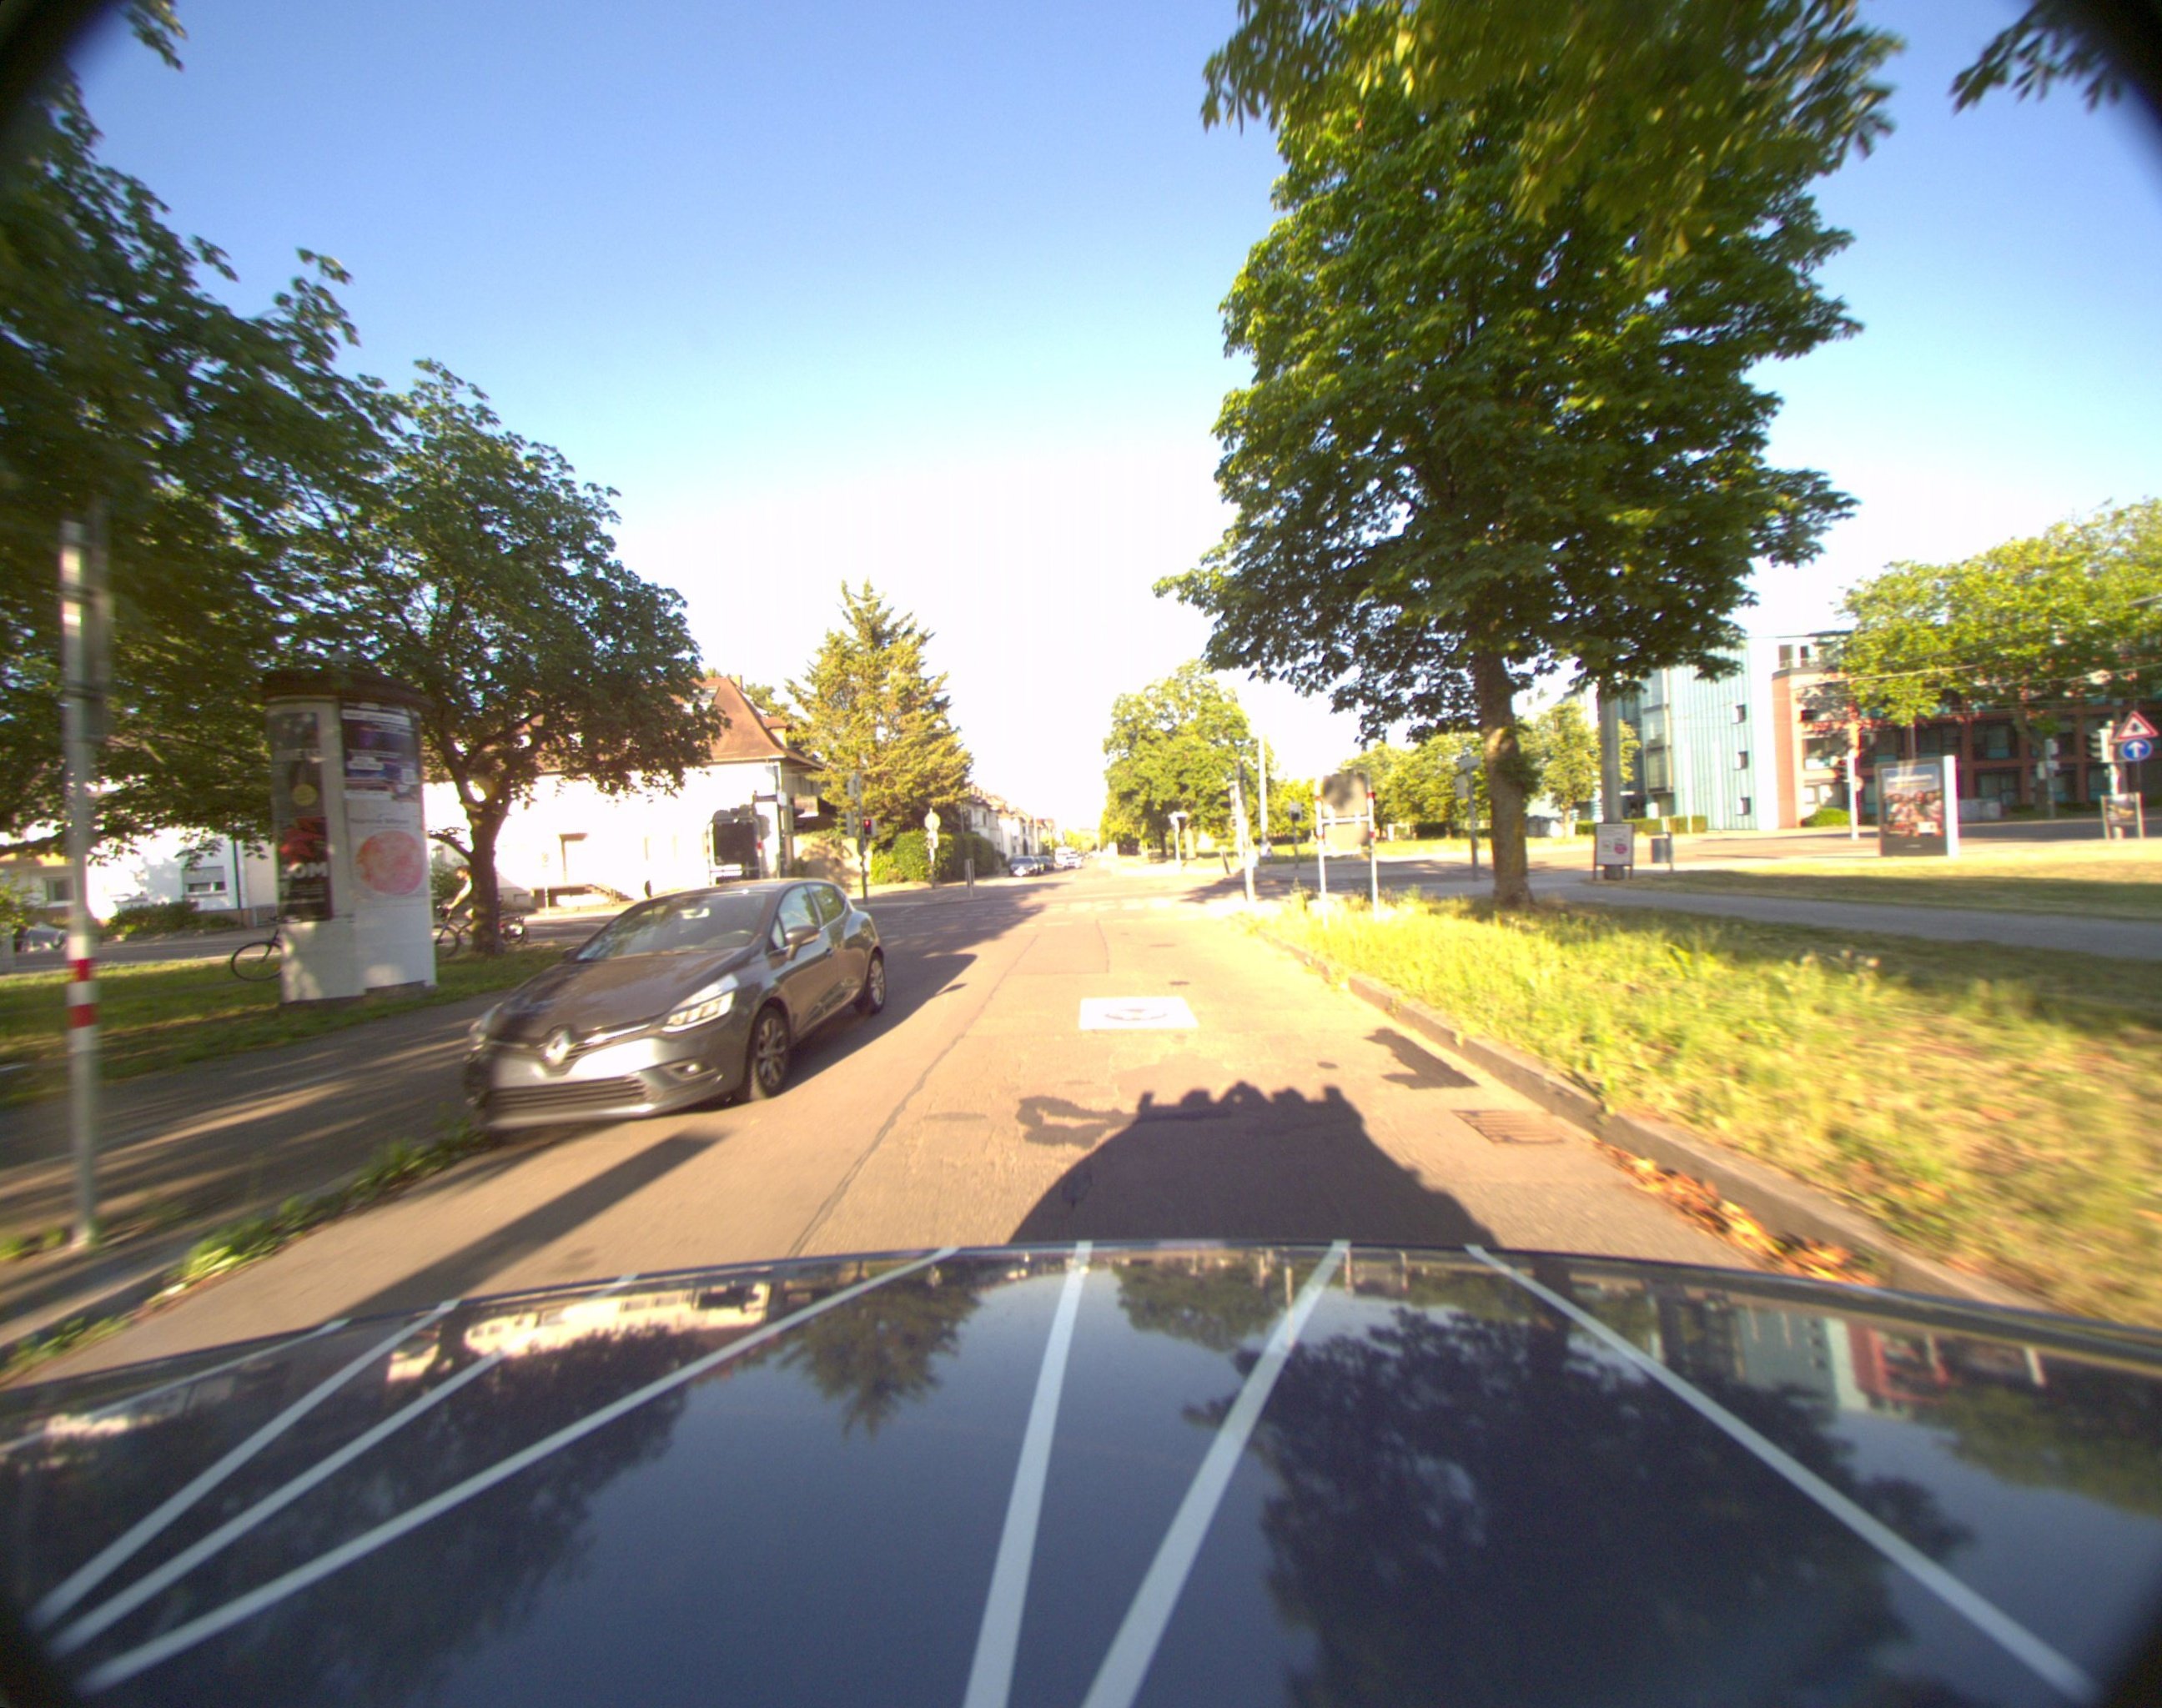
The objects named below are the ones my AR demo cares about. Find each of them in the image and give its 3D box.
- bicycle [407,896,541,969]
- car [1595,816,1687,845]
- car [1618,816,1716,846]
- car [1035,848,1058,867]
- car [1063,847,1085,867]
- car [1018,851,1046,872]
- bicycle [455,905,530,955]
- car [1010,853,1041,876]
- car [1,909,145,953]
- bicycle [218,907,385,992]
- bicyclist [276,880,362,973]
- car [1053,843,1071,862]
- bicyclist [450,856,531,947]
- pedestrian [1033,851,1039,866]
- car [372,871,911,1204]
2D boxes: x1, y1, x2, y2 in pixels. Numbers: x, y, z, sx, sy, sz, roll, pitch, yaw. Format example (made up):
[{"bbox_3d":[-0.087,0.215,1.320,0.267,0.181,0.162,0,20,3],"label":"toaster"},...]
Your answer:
[{"bbox_3d":[-12.083,1.536,15.199,0.573,1.177,1.908,-5,1,30],"label":"bicycle"},{"bbox_3d":[40.366,-1.680,54.813,5.221,1.662,1.967,-5,1,-3],"label":"car"},{"bbox_3d":[40.483,-1.582,52.545,5.220,1.662,1.999,-5,1,-1],"label":"car"},{"bbox_3d":[-3.217,0.373,71.568,1.796,1.586,4.077,-6,0,1],"label":"car"},{"bbox_3d":[-0.720,0.277,76.873,1.999,1.775,3.998,-5,1,-2],"label":"car"},{"bbox_3d":[-3.989,0.596,62.284,1.784,1.469,4.000,-6,0,1],"label":"car"},{"bbox_3d":[-14.185,1.831,18.330,1.525,1.083,0.467,-3,1,10],"label":"bicycle"},{"bbox_3d":[-4.111,0.746,56.899,2.009,1.490,4.914,-2,1,-1],"label":"car"},{"bbox_3d":[-47.674,3.616,36.002,3.997,1.587,2.000,-4,1,0],"label":"car"},{"bbox_3d":[-14.043,1.690,13.765,0.491,1.177,1.967,-4,2,38],"label":"bicycle"},{"bbox_3d":[-13.944,1.318,13.911,0.713,1.553,0.895,-4,2,38],"label":"bicyclist"},{"bbox_3d":[-2.697,-0.270,111.364,2.131,2.461,5.724,-6,1,1],"label":"car"},{"bbox_3d":[-11.920,0.947,15.358,0.815,1.722,0.895,-5,2,29],"label":"bicyclist"},{"bbox_3d":[-5.669,0.548,95.931,0.587,1.836,0.824,-6,2,3],"label":"pedestrian"},{"bbox_3d":[-2.887,1.052,6.395,1.730,1.502,4.540,-5,1,1],"label":"car"}]
